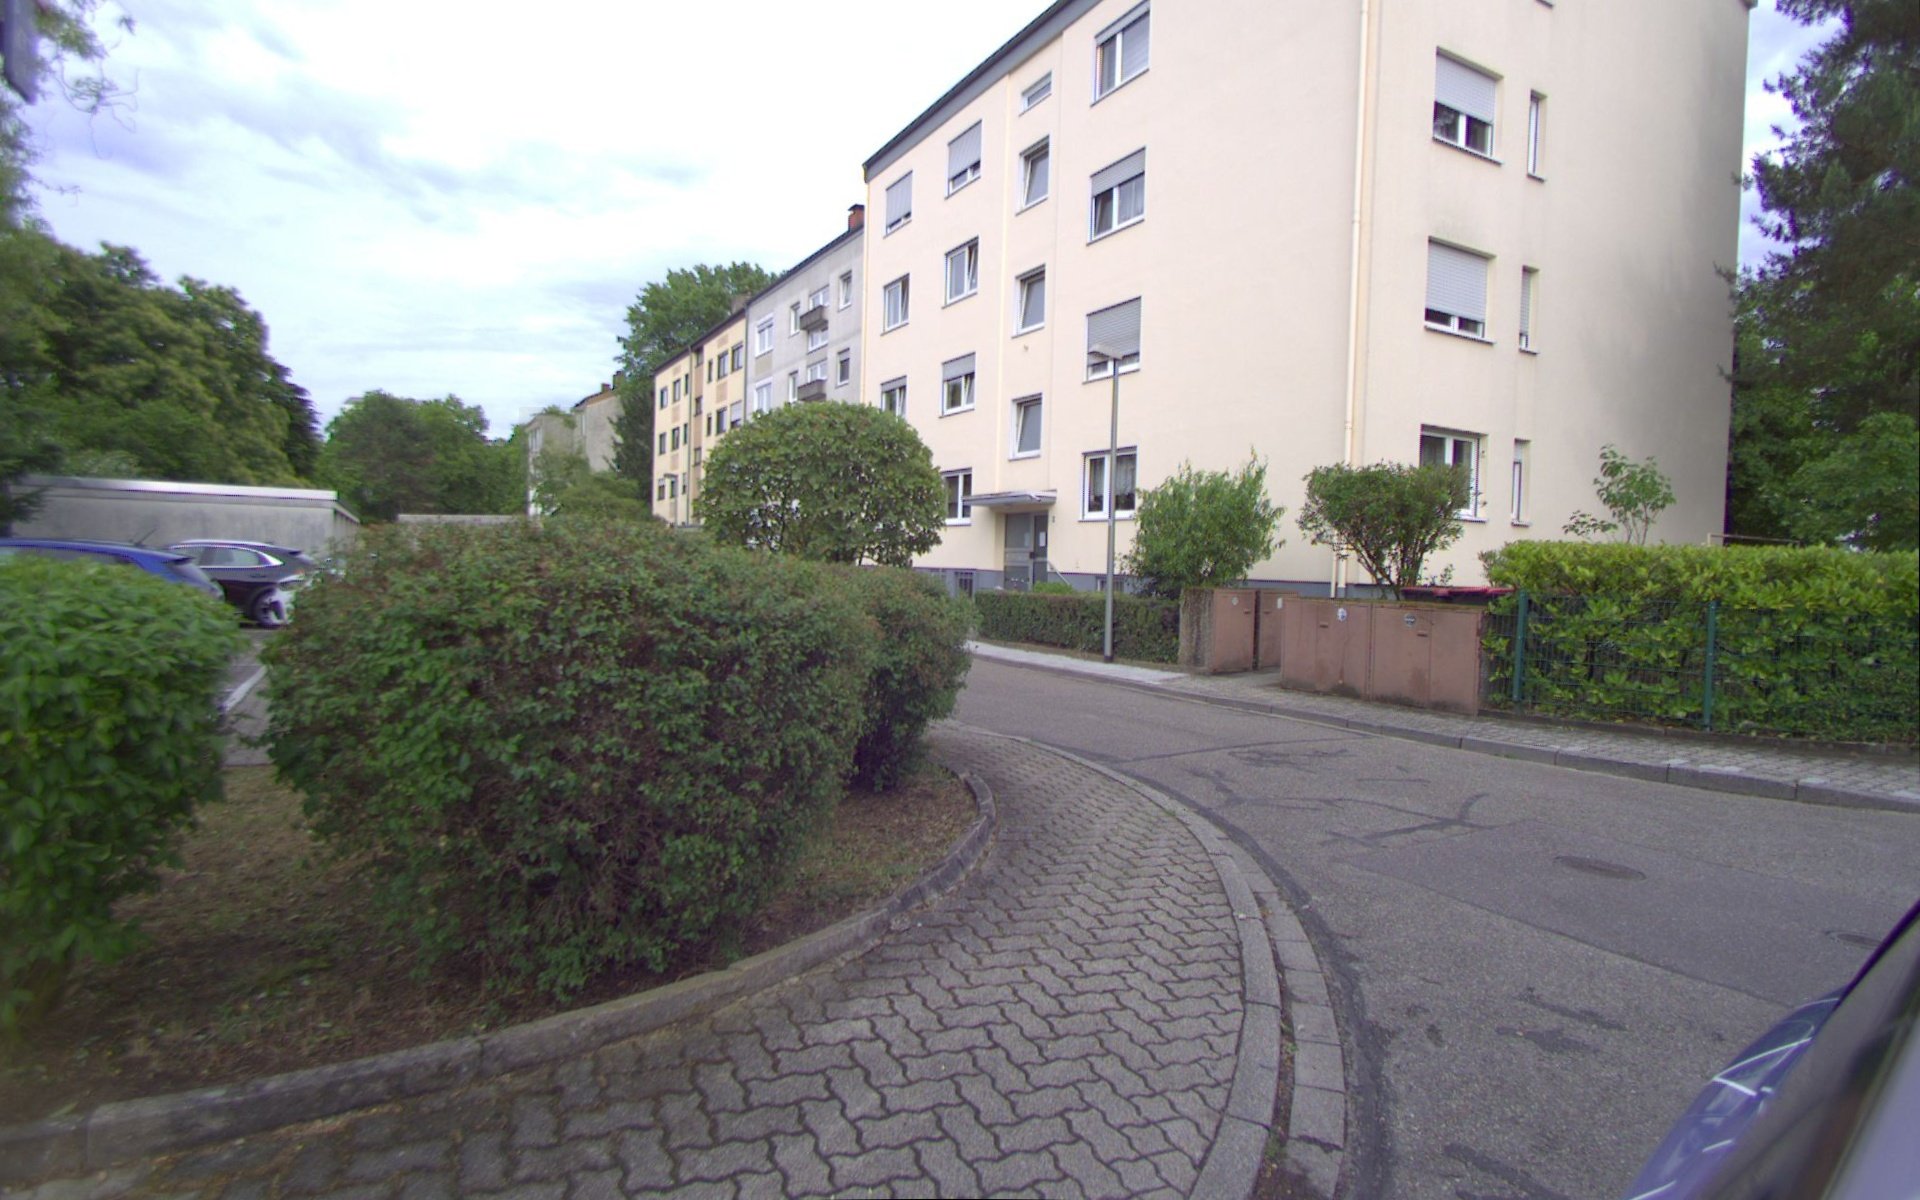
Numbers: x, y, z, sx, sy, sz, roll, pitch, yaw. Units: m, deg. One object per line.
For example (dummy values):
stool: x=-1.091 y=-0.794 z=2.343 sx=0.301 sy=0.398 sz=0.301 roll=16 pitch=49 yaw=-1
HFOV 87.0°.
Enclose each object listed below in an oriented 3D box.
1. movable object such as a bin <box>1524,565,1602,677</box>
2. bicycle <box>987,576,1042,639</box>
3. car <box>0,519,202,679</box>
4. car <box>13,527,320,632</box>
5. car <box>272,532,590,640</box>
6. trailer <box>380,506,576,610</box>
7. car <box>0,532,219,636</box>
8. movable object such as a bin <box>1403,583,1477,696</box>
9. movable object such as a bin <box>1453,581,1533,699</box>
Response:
movable object such as a bin: x=6.635 y=0.223 z=11.147 sx=0.497 sy=1.179 sz=0.516 roll=2 pitch=1 yaw=-31
bicycle: x=1.006 y=0.118 z=18.951 sx=0.312 sy=1.088 sz=1.420 roll=0 pitch=3 yaw=-29
car: x=-10.196 y=-0.055 z=10.205 sx=3.832 sy=1.529 sz=2.030 roll=1 pitch=2 yaw=-30
car: x=-13.326 y=-0.368 z=17.251 sx=3.927 sy=1.571 sz=2.000 roll=0 pitch=3 yaw=-38
car: x=-8.739 y=-0.224 z=17.026 sx=4.459 sy=1.608 sz=1.991 roll=1 pitch=2 yaw=-28
trailer: x=-12.710 y=-1.073 z=26.785 sx=4.531 sy=2.556 sz=1.945 roll=0 pitch=2 yaw=-29
car: x=-13.203 y=-0.246 z=14.601 sx=3.832 sy=1.398 sz=1.974 roll=1 pitch=2 yaw=-30
movable object such as a bin: x=5.313 y=0.424 z=11.209 sx=0.497 sy=1.202 sz=0.516 roll=1 pitch=1 yaw=-31
movable object such as a bin: x=5.639 y=0.413 z=10.708 sx=0.497 sy=1.202 sz=0.516 roll=2 pitch=1 yaw=-31
